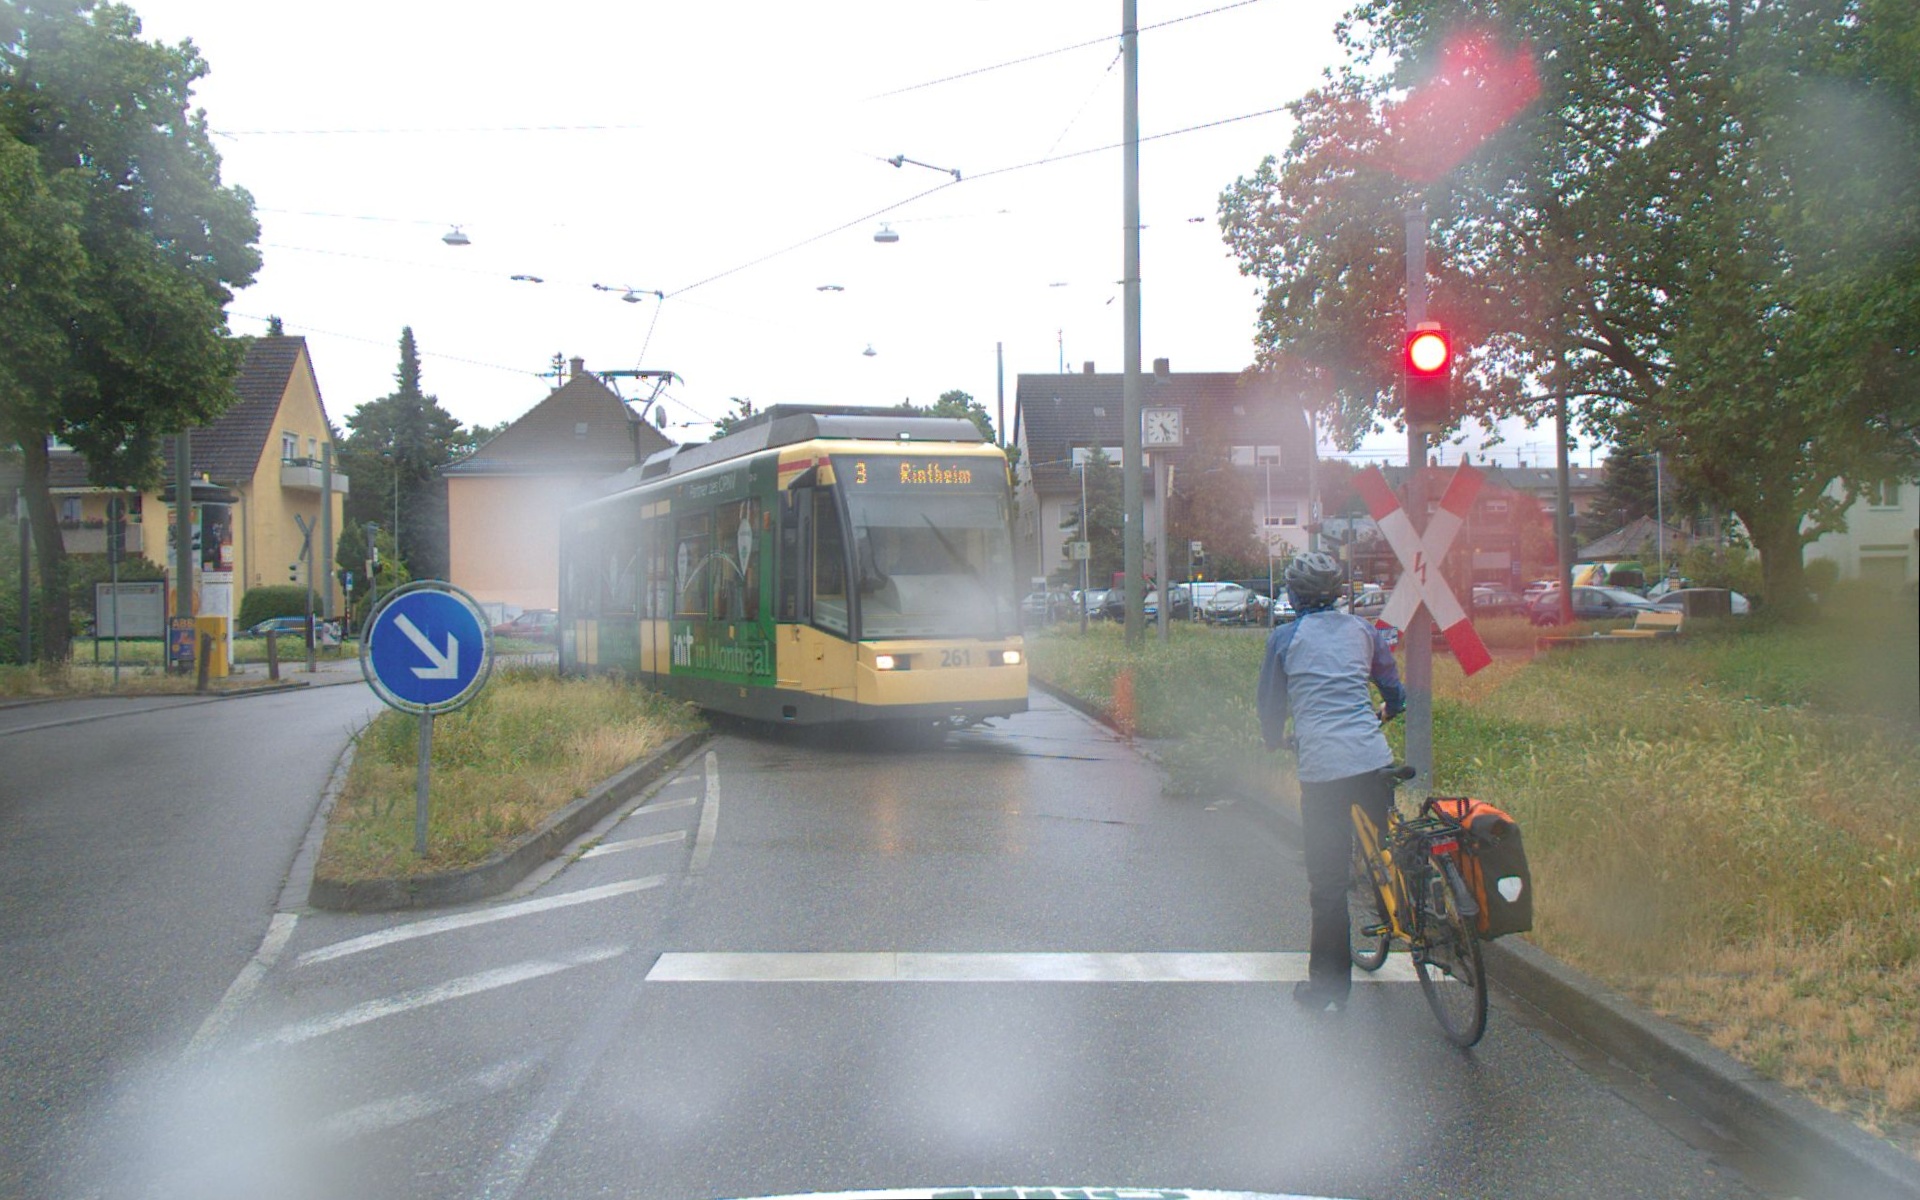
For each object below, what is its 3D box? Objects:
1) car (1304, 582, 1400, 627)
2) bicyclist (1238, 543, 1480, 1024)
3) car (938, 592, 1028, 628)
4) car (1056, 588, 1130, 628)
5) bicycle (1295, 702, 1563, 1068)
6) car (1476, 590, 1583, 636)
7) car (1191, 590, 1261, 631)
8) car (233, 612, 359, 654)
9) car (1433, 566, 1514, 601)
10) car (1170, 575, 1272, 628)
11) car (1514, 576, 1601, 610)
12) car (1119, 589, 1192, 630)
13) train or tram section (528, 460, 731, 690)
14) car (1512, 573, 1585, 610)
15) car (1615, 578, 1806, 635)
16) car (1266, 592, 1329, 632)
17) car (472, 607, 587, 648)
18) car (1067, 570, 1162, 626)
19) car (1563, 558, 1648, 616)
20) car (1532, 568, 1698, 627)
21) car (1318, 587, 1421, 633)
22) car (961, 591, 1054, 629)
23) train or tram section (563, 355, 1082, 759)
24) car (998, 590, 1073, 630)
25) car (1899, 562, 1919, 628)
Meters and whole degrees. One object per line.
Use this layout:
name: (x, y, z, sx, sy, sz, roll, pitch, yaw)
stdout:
car: (18.098, 0.230, 76.543, 3.907, 1.985, 1.999, 1, -1, -3)
bicyclist: (1.455, 0.639, 6.149, 0.653, 1.654, 0.852, 1, -1, -2)
car: (1.132, 0.476, 79.937, 3.956, 1.672, 1.974, 1, -1, -37)
car: (5.807, 0.369, 71.604, 1.954, 1.668, 3.997, 1, 0, 24)
bicycle: (1.655, 0.953, 6.077, 0.437, 1.022, 1.727, -1, 0, -2)
car: (22.615, 0.510, 65.743, 3.609, 1.731, 1.890, 1, 0, 0)
car: (11.405, 0.461, 70.740, 1.954, 1.668, 3.997, 1, 0, 24)
car: (-24.435, 1.205, 60.960, 3.911, 1.482, 1.831, 1, 0, -7)
car: (28.559, -0.903, 92.065, 3.904, 1.822, 2.000, 1, 0, 2)
car: (12.022, 0.066, 76.414, 4.307, 2.365, 1.999, 1, -1, -3)
car: (31.071, -0.356, 86.074, 3.905, 1.668, 1.846, 1, 0, -1)
car: (8.351, 0.407, 70.474, 1.954, 1.668, 3.997, 1, 0, 24)
train or tram section: (-5.861, -0.414, 28.773, 2.720, 3.615, 4.958, -1, 0, -20)
car: (34.239, -0.490, 96.294, 1.963, 2.049, 3.978, 1, 0, -19)
car: (18.474, 0.152, 40.862, 3.902, 1.308, 1.847, 1, 0, 6)
car: (14.566, 0.519, 71.178, 1.804, 1.668, 3.997, 1, 0, 24)
car: (-16.180, 1.022, 62.330, 3.911, 1.482, 1.831, 1, 0, -7)
car: (7.484, -0.113, 79.913, 4.301, 2.610, 2.001, 1, -1, 14)
car: (28.830, -0.563, 74.028, 1.953, 2.485, 4.352, 1, 0, -2)
car: (17.960, -0.074, 45.430, 3.848, 1.522, 1.798, 1, -1, 43)
car: (16.158, 0.396, 65.343, 3.609, 1.731, 1.890, 1, 0, 0)
car: (2.230, 0.476, 76.885, 3.956, 1.705, 1.974, 1, -1, -37)
train or tram section: (-2.515, -0.407, 20.923, 2.724, 3.615, 12.112, -1, 0, -24)
car: (3.342, 0.446, 72.812, 1.954, 1.668, 3.997, 1, 0, 24)
car: (28.144, -0.112, 45.530, 3.703, 1.829, 1.798, 1, -1, 43)
